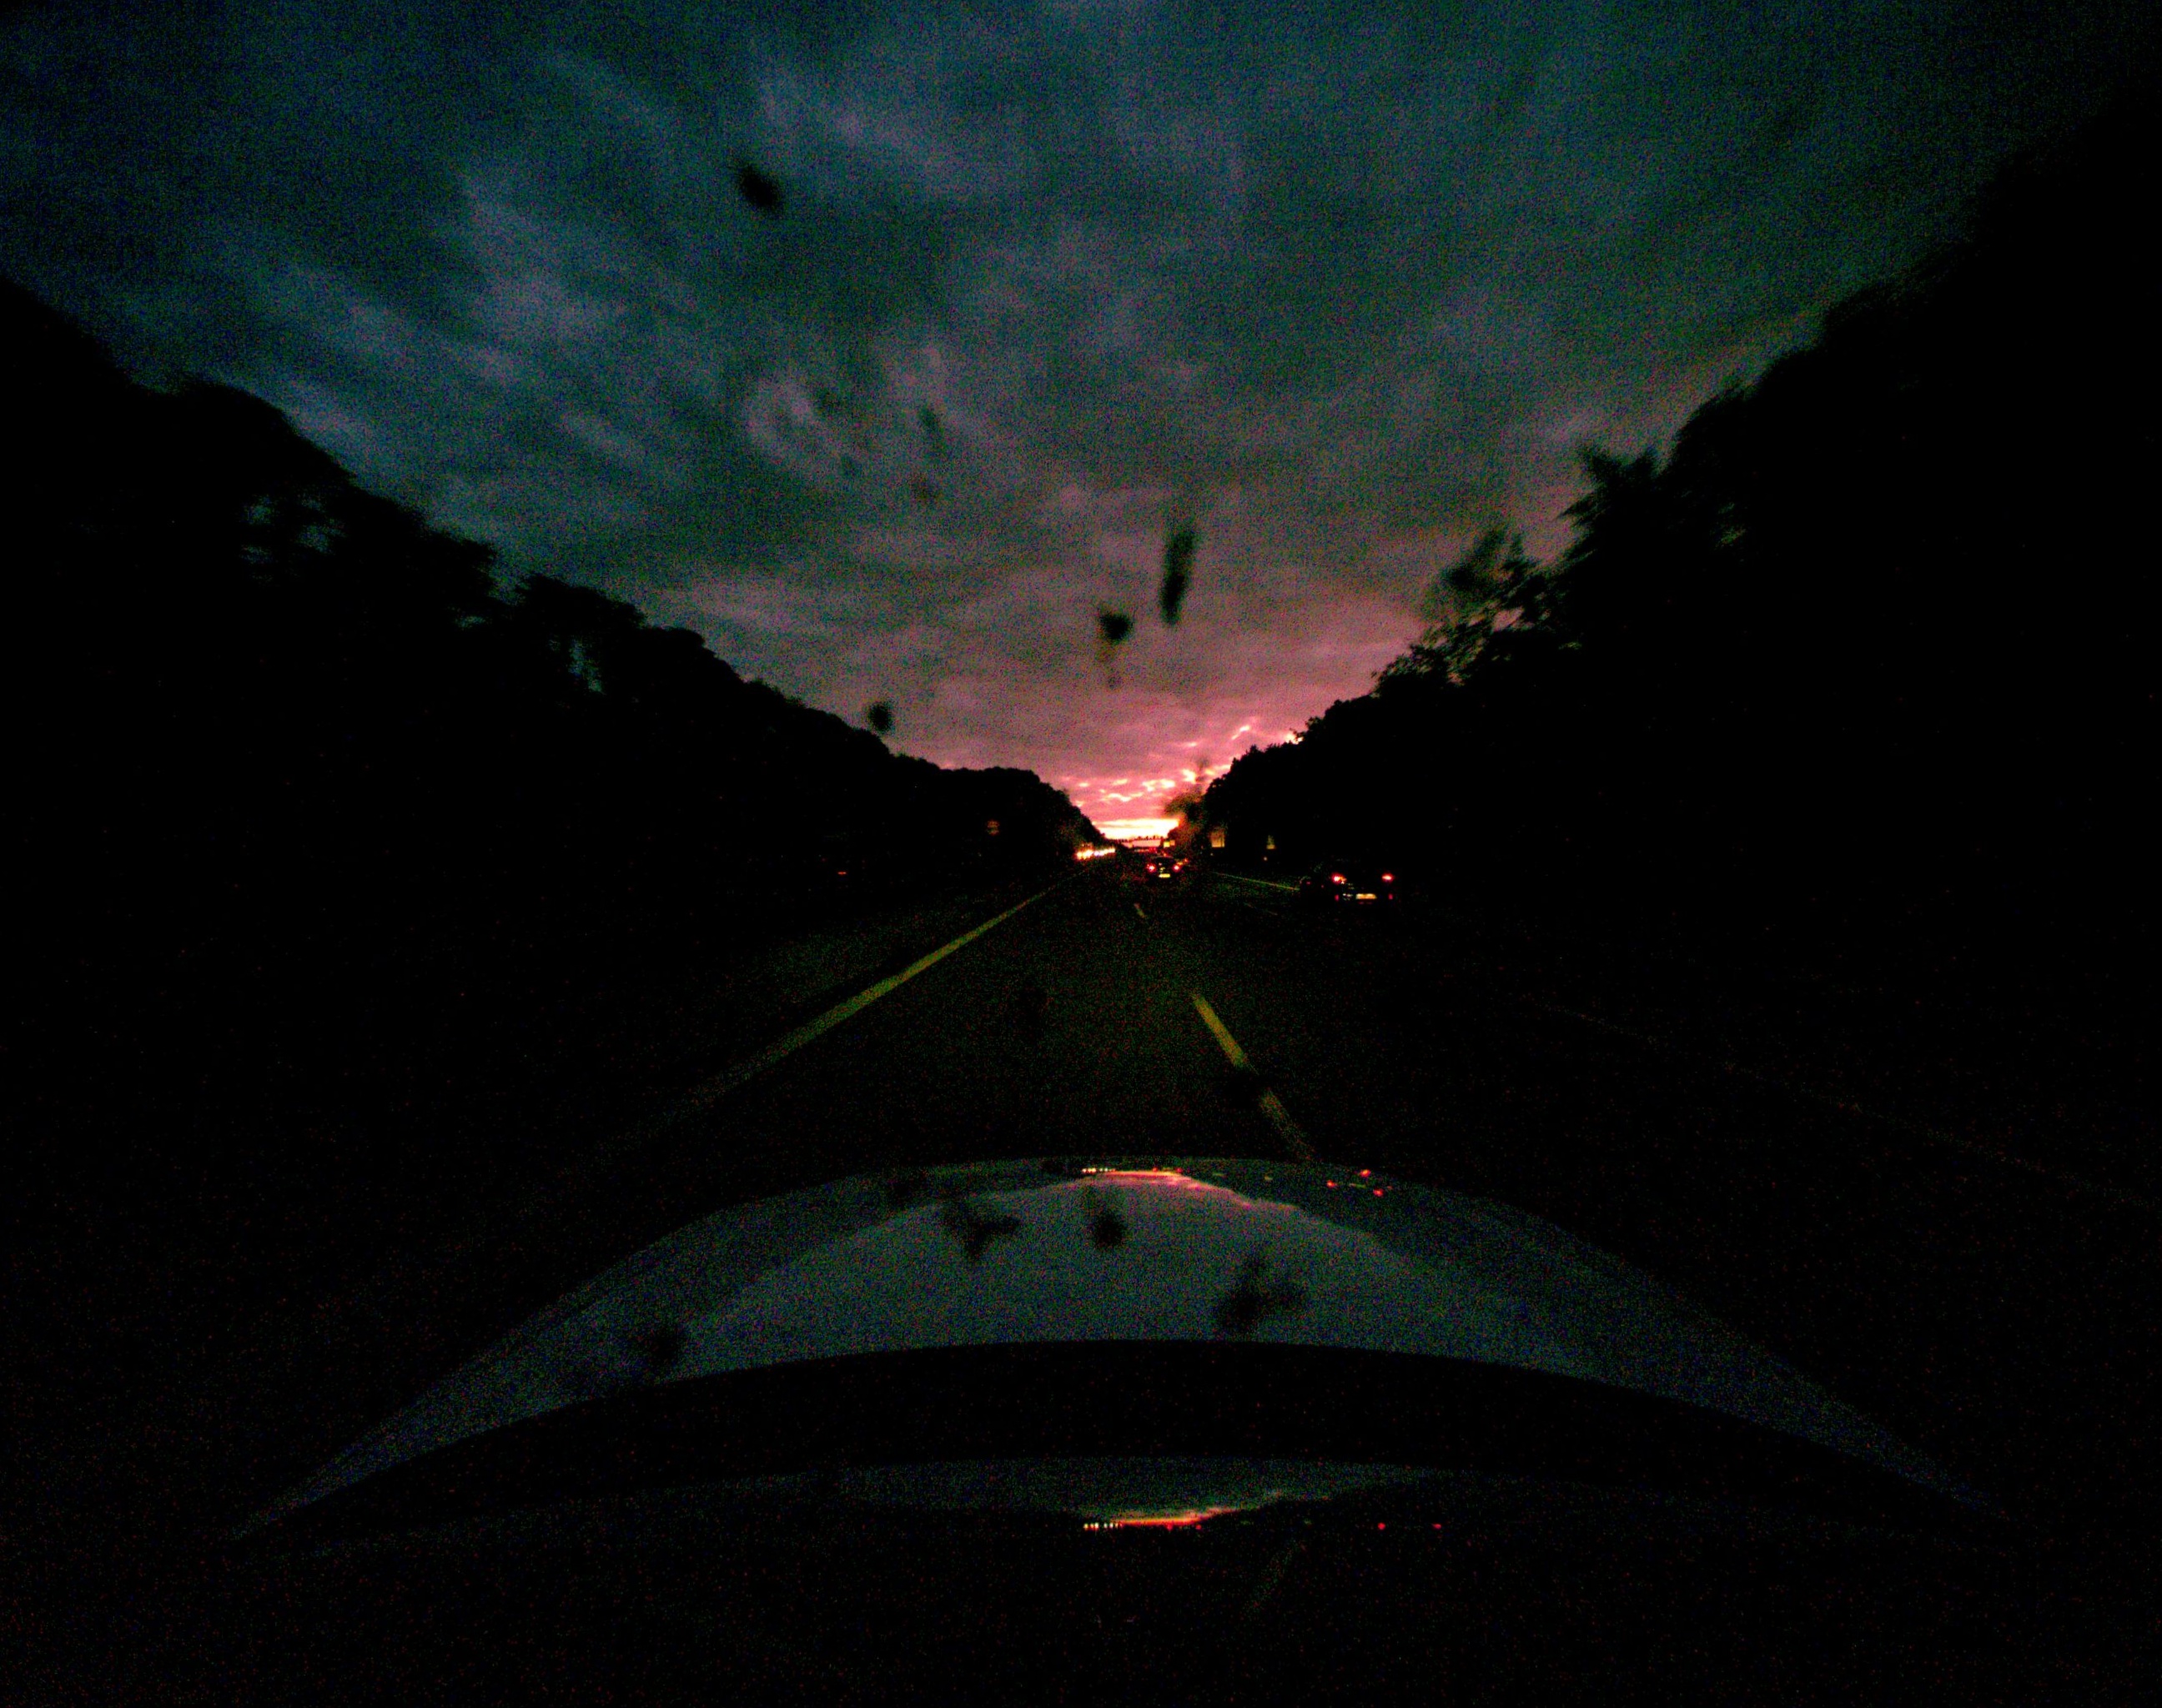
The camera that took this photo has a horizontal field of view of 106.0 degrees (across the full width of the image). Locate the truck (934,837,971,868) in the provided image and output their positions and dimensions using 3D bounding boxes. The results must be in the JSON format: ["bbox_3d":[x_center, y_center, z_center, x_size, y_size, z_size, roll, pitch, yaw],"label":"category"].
[{"bbox_3d":[-17.709,-0.136,112.821,3.175,4.105,7.701,-1,0,5],"label":"truck"}]

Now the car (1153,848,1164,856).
[{"bbox_3d":[16.052,-0.383,169.070,1.859,1.494,4.398,0,-1,0],"label":"car"}]

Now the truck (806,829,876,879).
[{"bbox_3d":[-21.103,0.037,72.103,3.175,4.105,7.701,-1,0,5],"label":"truck"}]

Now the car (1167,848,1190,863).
[{"bbox_3d":[9.780,0.143,81.738,1.819,1.476,4.398,0,-1,0],"label":"car"}]

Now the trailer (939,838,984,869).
[{"bbox_3d":[-17.181,-0.054,118.406,3.175,4.105,14.205,-1,0,5],"label":"trailer"}]

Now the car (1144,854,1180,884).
[{"bbox_3d":[4.202,0.780,42.614,1.697,1.509,4.235,0,-1,3],"label":"car"}]

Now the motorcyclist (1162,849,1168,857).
[{"bbox_3d":[14.667,-0.194,142.285,0.826,1.291,1.191,-2,-1,4],"label":"motorcyclist"}]

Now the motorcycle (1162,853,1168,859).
[{"bbox_3d":[14.688,0.342,142.346,0.826,1.134,2.479,-2,-1,4],"label":"motorcycle"}]

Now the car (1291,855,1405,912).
[{"bbox_3d":[7.332,0.762,22.887,1.858,1.436,4.586,0,0,2],"label":"car"}]

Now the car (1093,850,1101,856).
[{"bbox_3d":[4.230,-0.269,216.322,1.843,1.381,4.647,-1,0,2],"label":"car"}]

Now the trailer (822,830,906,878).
[{"bbox_3d":[-20.531,0.017,78.358,3.176,4.105,13.759,-1,0,5],"label":"trailer"}]

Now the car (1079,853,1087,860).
[{"bbox_3d":[0.580,0.614,202.440,1.679,1.515,4.420,-1,0,4],"label":"car"}]
